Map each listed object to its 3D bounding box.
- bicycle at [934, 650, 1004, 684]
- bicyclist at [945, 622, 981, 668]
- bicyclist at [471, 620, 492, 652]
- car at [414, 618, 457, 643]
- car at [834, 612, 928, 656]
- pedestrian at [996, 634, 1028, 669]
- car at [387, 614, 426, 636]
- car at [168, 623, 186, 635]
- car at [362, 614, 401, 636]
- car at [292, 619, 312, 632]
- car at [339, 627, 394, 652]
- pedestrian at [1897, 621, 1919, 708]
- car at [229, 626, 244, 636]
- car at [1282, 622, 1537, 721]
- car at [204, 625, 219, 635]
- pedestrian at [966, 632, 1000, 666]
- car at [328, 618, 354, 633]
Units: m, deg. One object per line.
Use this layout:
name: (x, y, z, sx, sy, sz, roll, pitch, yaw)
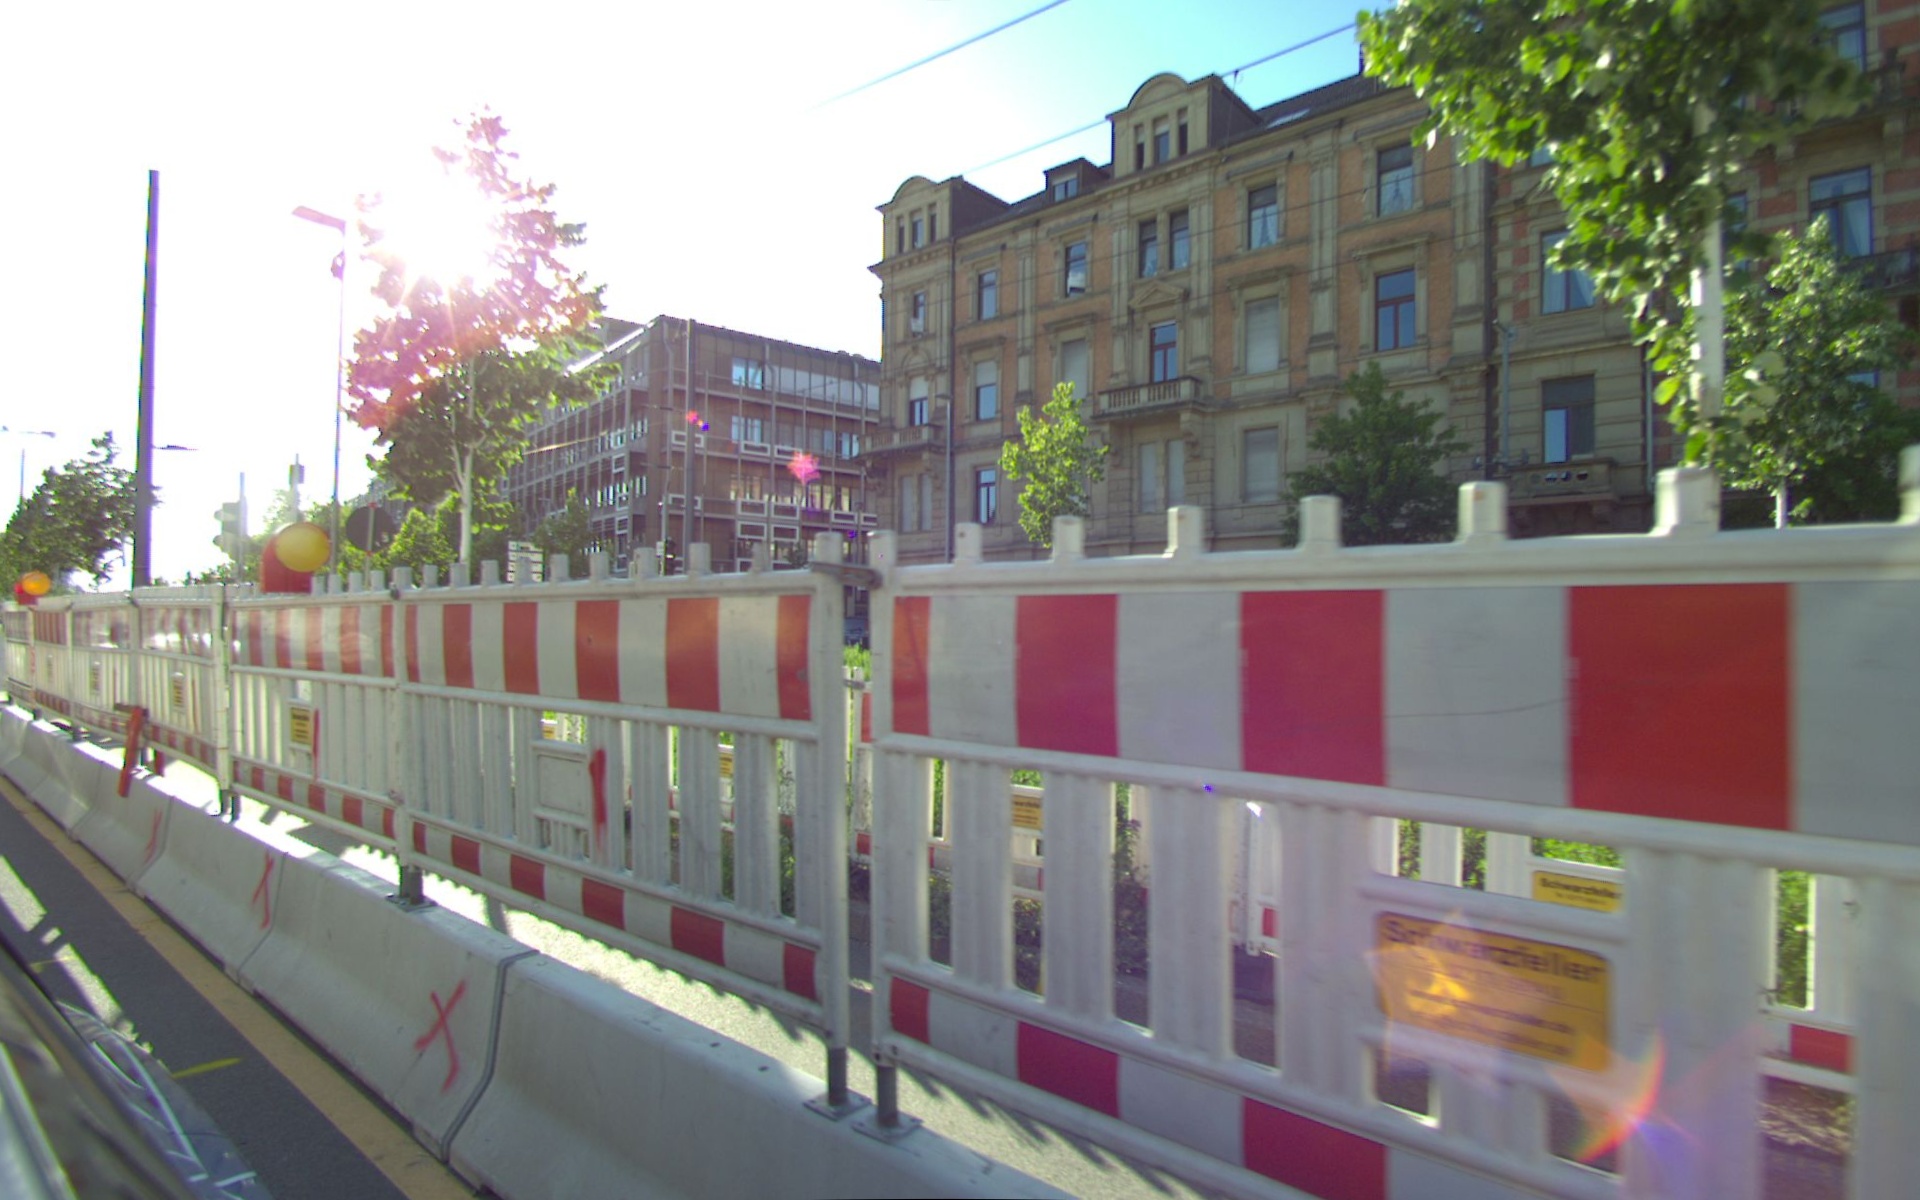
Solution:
bicycle: (0.237, 1.825, 27.721, 2.031, 0.864, 0.630, -1, -2, 43)
bicyclist: (0.084, 1.224, 27.874, 0.738, 1.249, 0.630, -1, -2, 43)
bicyclist: (-25.012, 1.881, 52.937, 0.882, 1.670, 0.687, -1, -2, 42)
car: (-34.304, 2.000, 66.129, 1.628, 1.566, 3.972, 2, -2, -40)
car: (-3.628, 1.598, 47.323, 1.895, 1.918, 4.467, -1, -3, 37)
pedestrian: (1.851, 1.814, 35.965, 0.929, 1.217, 0.682, -1, -2, 43)
car: (-38.283, 1.734, 69.973, 1.604, 1.452, 3.824, 0, -1, -41)
car: (-118.775, 4.366, 153.492, 1.707, 1.760, 4.125, 2, -2, -43)
car: (-41.977, 1.815, 73.411, 1.716, 1.548, 3.890, 1, -2, -41)
car: (-86.466, 3.337, 132.928, 1.700, 1.555, 3.636, 0, -1, -41)
car: (-36.585, 2.418, 62.348, 4.069, 1.431, 1.833, -1, -1, 43)
pedestrian: (17.755, 1.192, 18.834, 0.425, 1.597, 0.399, -1, 0, 41)
car: (-113.039, 4.786, 158.139, 1.607, 1.507, 4.425, 3, -3, -39)
car: (7.506, 1.130, 17.101, 3.623, 1.494, 1.577, -1, -2, 43)
car: (-115.371, 4.591, 155.951, 1.607, 1.507, 3.785, 3, -3, -41)
pedestrian: (0.820, 1.748, 36.417, 0.929, 1.217, 0.782, -1, -2, 43)
car: (-57.633, 2.376, 94.155, 1.693, 1.397, 4.049, 1, -1, -36)
